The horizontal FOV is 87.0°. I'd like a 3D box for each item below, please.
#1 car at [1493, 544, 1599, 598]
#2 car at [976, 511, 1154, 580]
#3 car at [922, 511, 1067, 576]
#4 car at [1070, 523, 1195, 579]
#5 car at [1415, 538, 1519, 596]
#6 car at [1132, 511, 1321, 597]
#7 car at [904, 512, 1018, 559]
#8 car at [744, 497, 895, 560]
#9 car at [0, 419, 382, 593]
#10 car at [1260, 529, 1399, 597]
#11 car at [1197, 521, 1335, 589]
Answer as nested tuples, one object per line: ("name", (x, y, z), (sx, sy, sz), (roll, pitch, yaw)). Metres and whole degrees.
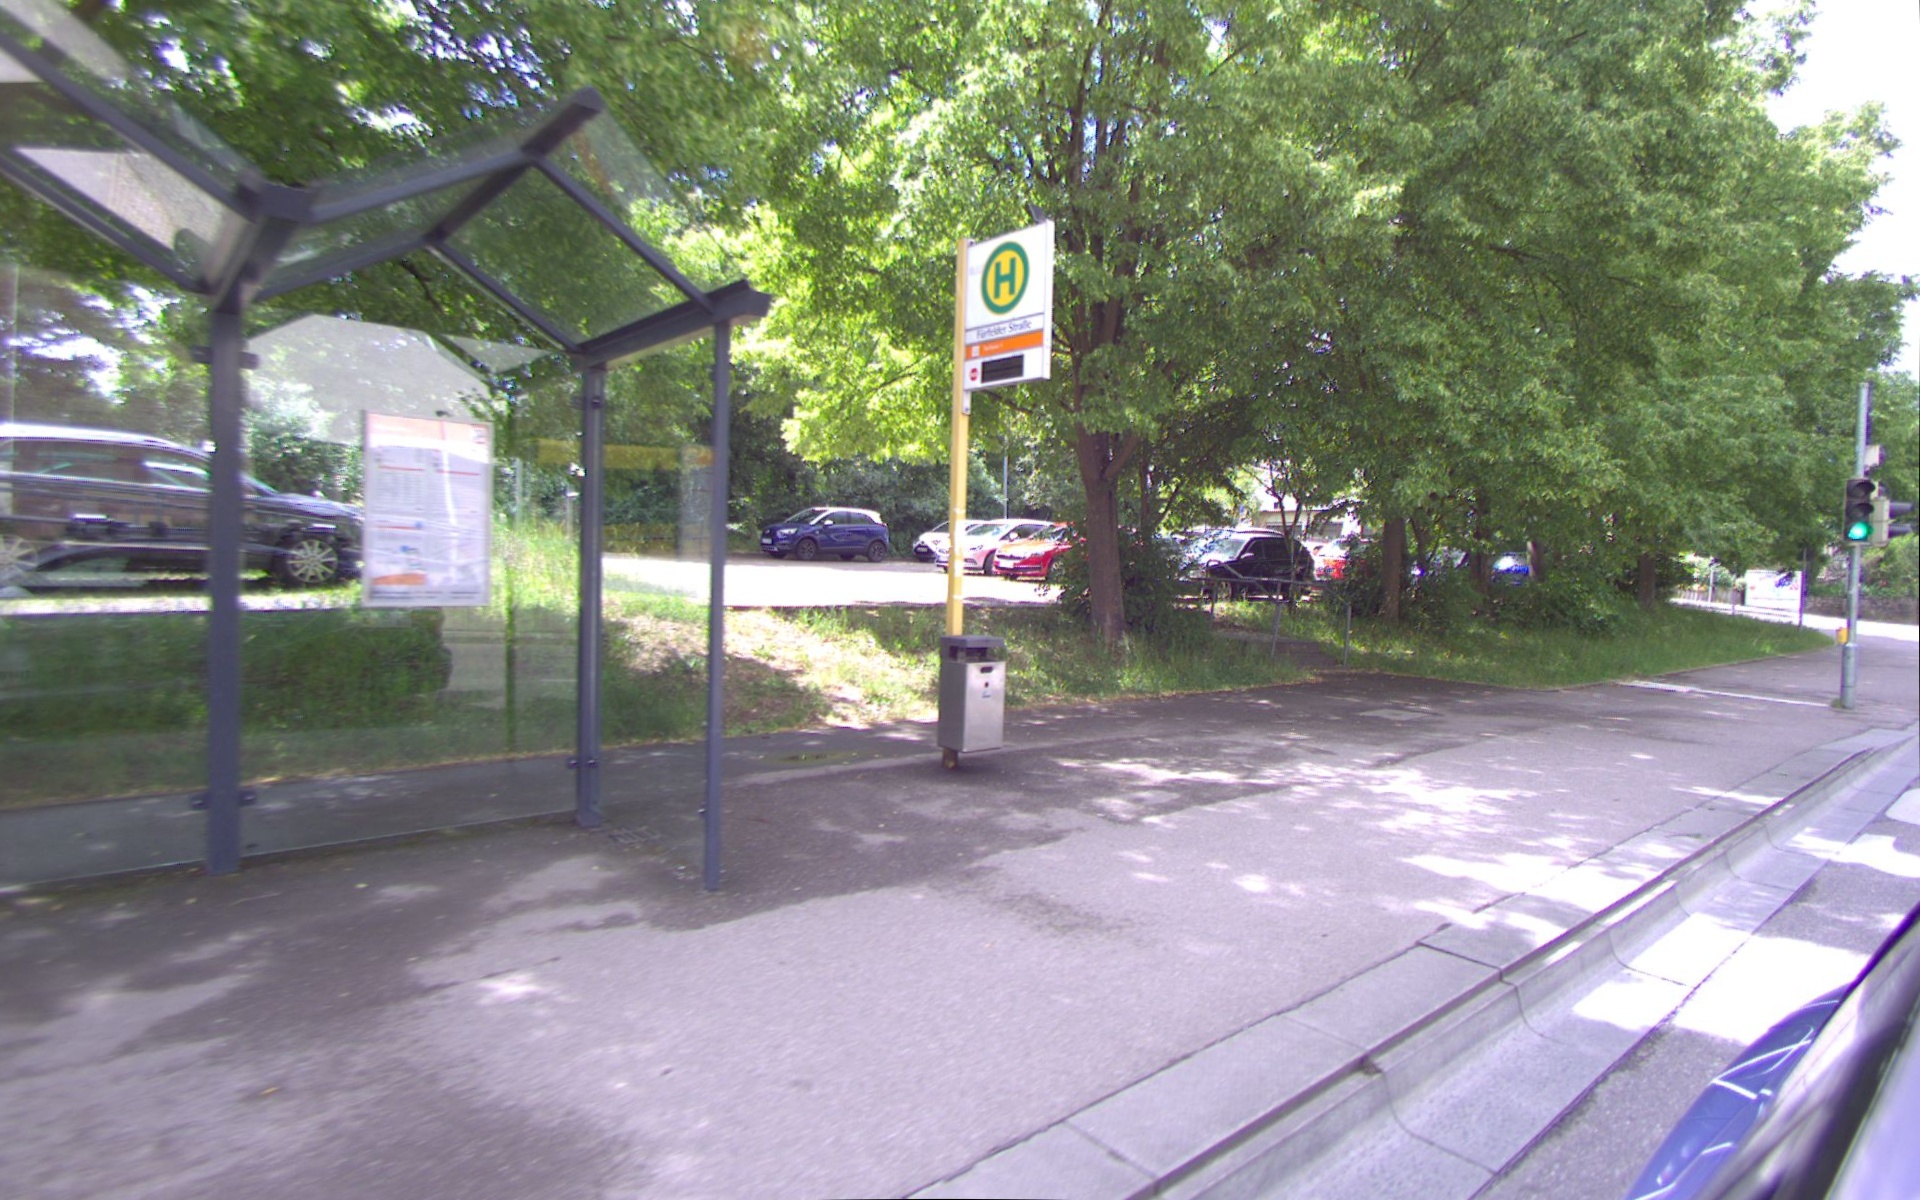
("car", (18.256, -0.932, 31.451), (3.751, 1.529, 1.826), (-2, 5, -43))
("car", (2.658, -1.317, 25.043), (4.465, 1.495, 1.756), (0, 4, -41))
("car", (0.947, -1.465, 26.613), (3.598, 1.495, 1.635), (0, 4, -41))
("car", (5.266, -1.466, 30.715), (3.795, 1.459, 1.757), (0, 5, -43))
("car", (16.411, -1.088, 32.672), (3.841, 1.653, 1.682), (-2, 7, -43))
("car", (5.480, -0.899, 20.605), (4.066, 1.532, 1.631), (0, 5, -41))
("car", (0.056, -2.150, 33.890), (3.598, 1.344, 1.635), (0, 4, -41))
("car", (-4.169, -2.105, 30.387), (4.030, 1.644, 2.062), (0, 2, -42))
("car", (-9.105, -1.051, 11.483), (4.190, 1.714, 1.691), (-2, 7, -42))
("car", (9.270, -0.905, 25.299), (3.598, 1.518, 1.665), (0, 4, -41))
("car", (8.105, -1.166, 26.696), (3.598, 1.601, 1.756), (0, 4, -41))
